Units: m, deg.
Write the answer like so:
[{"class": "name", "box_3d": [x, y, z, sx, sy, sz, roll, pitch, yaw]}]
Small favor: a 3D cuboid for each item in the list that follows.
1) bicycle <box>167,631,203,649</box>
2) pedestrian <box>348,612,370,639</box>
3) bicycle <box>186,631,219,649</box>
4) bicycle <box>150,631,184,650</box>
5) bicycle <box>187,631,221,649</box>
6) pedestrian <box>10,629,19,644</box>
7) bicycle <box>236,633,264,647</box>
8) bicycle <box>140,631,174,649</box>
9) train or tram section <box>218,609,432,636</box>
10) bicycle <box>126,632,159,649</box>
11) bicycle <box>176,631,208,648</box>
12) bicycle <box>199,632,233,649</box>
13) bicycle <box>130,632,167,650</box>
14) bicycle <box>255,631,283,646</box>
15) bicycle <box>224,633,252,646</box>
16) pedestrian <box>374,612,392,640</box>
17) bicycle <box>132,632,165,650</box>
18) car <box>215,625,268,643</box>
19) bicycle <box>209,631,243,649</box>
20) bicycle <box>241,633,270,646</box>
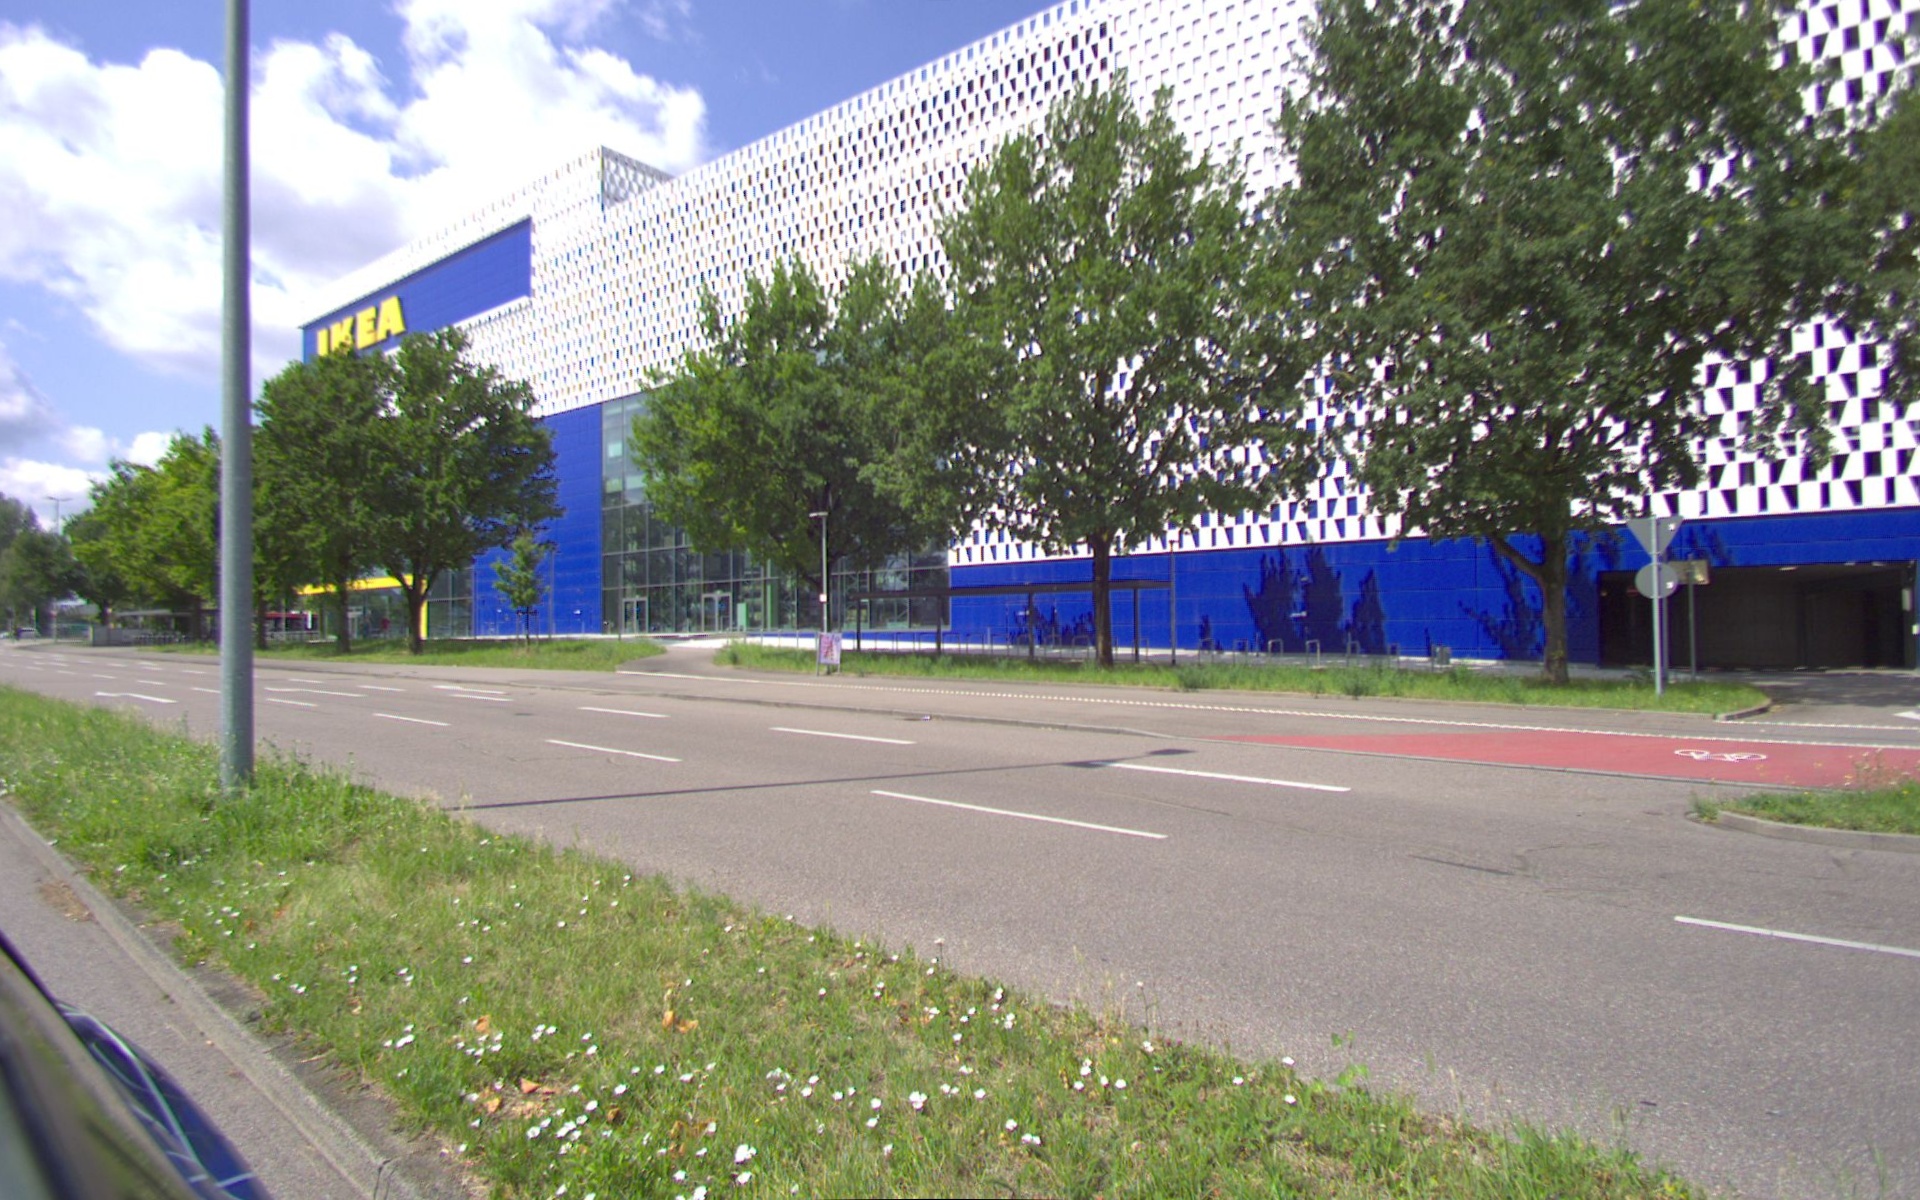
[{"class": "bicycle", "box_3d": [-54.824, 2.805, 71.612, 0.629, 1.192, 1.906, -3, -2, 38]}, {"class": "pedestrian", "box_3d": [-38.193, 1.624, 64.311, 0.886, 1.715, 0.941, -2, -1, 39]}, {"class": "bicycle", "box_3d": [-57.245, 2.990, 76.441, 0.629, 1.282, 1.906, -3, -2, 38]}, {"class": "bicycle", "box_3d": [-58.548, 2.991, 74.757, 0.629, 1.282, 1.906, -3, -2, 38]}, {"class": "bicycle", "box_3d": [-56.548, 2.962, 75.699, 0.629, 1.282, 1.906, -3, -2, 38]}, {"class": "pedestrian", "box_3d": [-94.688, 3.631, 101.300, 0.615, 1.502, 0.435, -1, -2, 22]}, {"class": "bicycle", "box_3d": [-60.285, 3.396, 85.937, 0.519, 1.098, 1.913, -3, -2, 34]}, {"class": "bicycle", "box_3d": [-60.427, 3.029, 76.202, 0.629, 1.282, 1.906, -3, -2, 38]}, {"class": "train or tram section", "box_3d": [-86.221, 3.260, 138.828, 4.523, 3.055, 24.813, -2, -3, 37]}, {"class": "bicycle", "box_3d": [-63.308, 3.149, 78.423, 0.629, 1.282, 1.906, -3, -2, 38]}, {"class": "bicycle", "box_3d": [-59.112, 3.038, 77.906, 0.629, 1.282, 1.906, -3, -2, 38]}, {"class": "bicycle", "box_3d": [-54.365, 2.932, 73.978, 0.629, 1.188, 1.906, -3, -2, 38]}, {"class": "bicycle", "box_3d": [-61.575, 3.126, 76.799, 0.629, 1.282, 2.069, -3, -2, 38]}, {"class": "bicycle", "box_3d": [-57.814, 3.184, 84.675, 0.527, 1.219, 1.917, -1, -1, 34]}, {"class": "bicycle", "box_3d": [-62.438, 3.400, 87.571, 0.527, 1.078, 1.917, -1, -1, 34]}, {"class": "pedestrian", "box_3d": [-37.464, 1.680, 65.739, 0.886, 1.836, 0.746, -2, -1, 39]}, {"class": "bicycle", "box_3d": [-62.237, 3.152, 77.606, 0.629, 1.282, 1.906, -3, -2, 38]}, {"class": "car", "box_3d": [-86.881, 4.134, 122.420, 1.996, 2.029, 4.765, -3, -2, 35]}, {"class": "bicycle", "box_3d": [-52.704, 2.862, 72.669, 0.629, 1.193, 1.906, -3, -2, 38]}, {"class": "bicycle", "box_3d": [-59.371, 3.324, 85.312, 0.527, 1.078, 1.917, -1, -1, 34]}]
